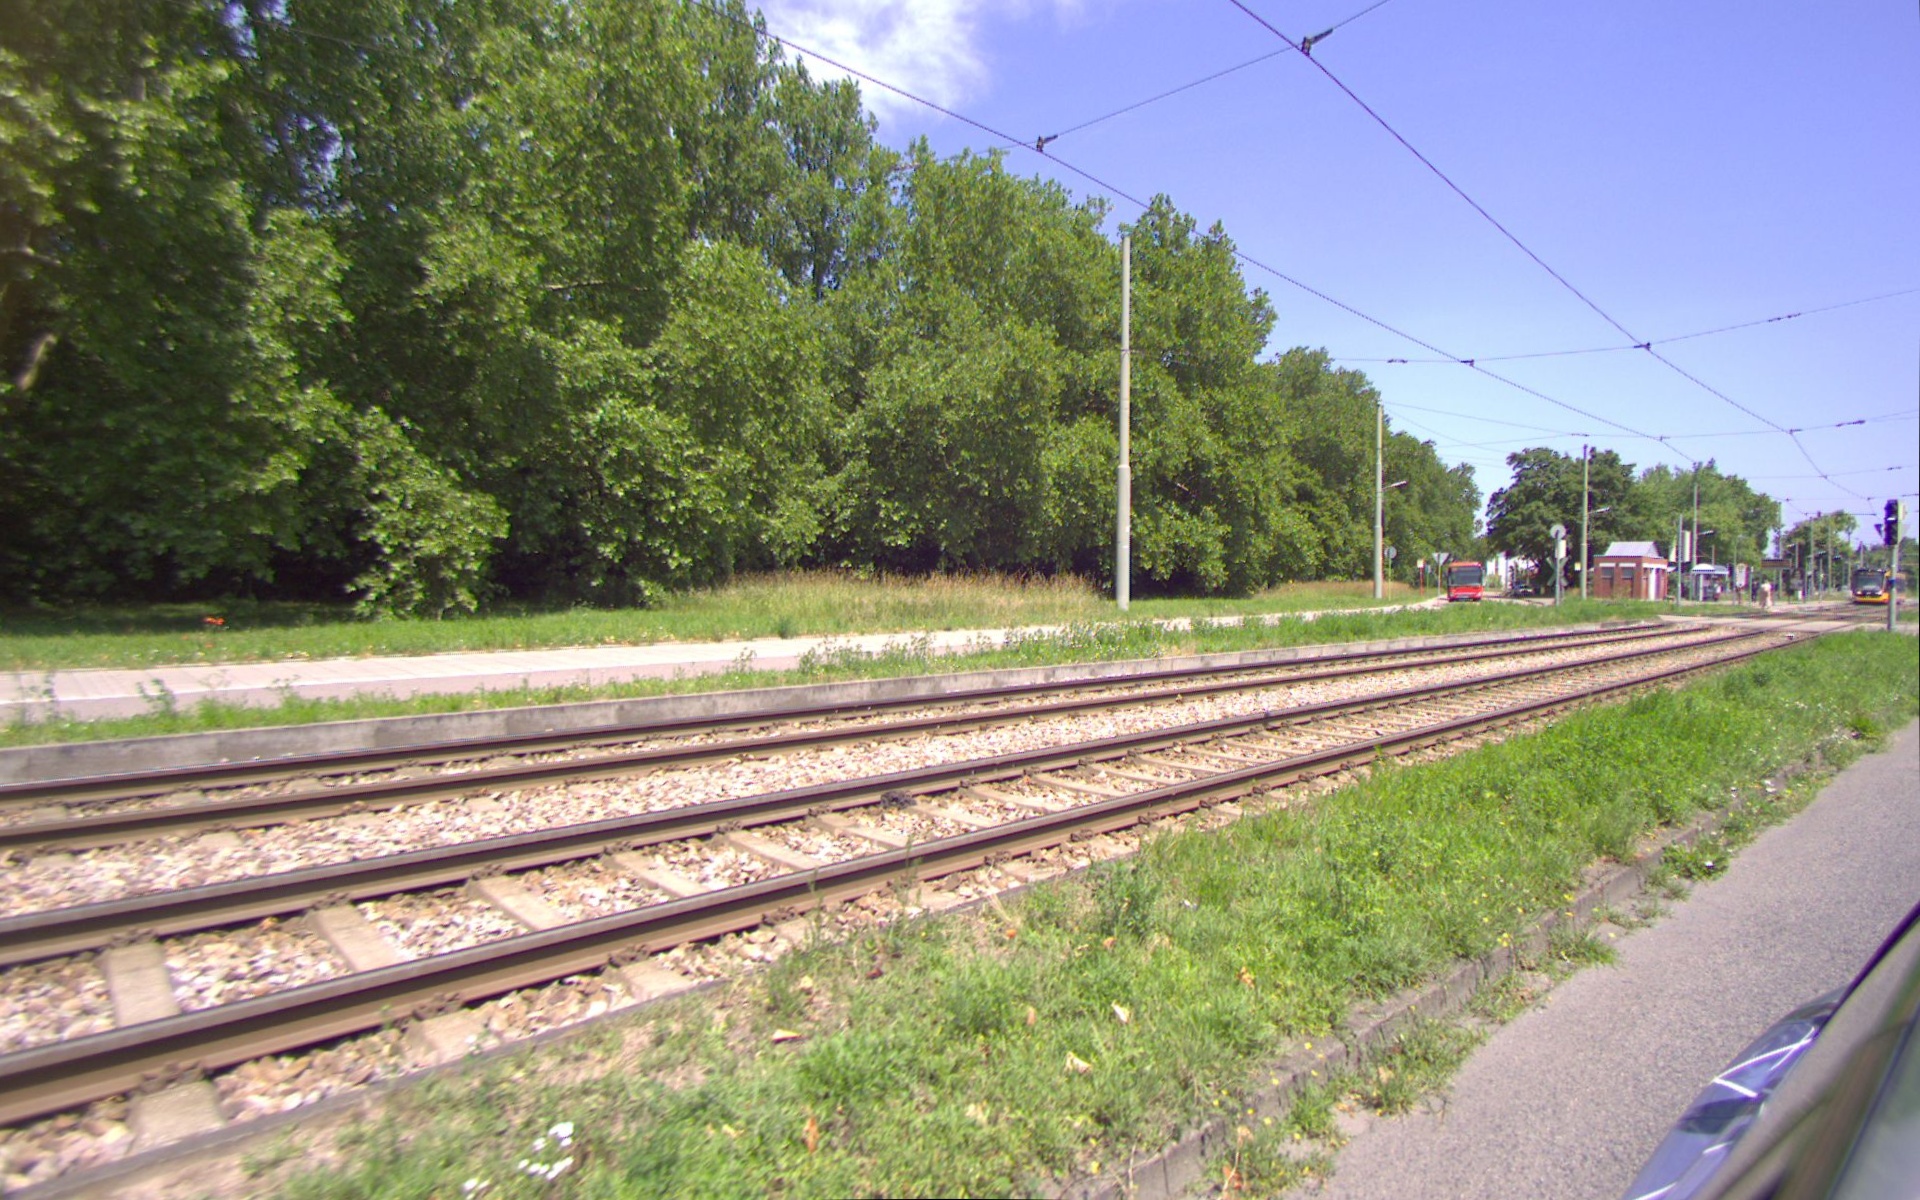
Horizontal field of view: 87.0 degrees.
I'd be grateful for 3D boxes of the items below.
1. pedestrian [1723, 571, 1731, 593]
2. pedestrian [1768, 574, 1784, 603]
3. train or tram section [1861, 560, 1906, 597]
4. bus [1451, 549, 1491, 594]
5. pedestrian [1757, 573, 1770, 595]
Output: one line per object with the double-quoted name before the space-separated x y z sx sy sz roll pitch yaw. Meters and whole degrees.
"pedestrian" 63.609 -1.473 83.936 0.727 1.796 0.382 -1 1 -41
"pedestrian" 50.427 -0.701 62.540 0.632 1.781 0.807 -1 1 33
"train or tram section" 86.572 -1.988 94.826 7.138 3.364 2.521 -1 2 -43
"bus" 43.302 -2.412 85.788 2.741 3.481 12.331 -1 1 27
"pedestrian" 67.722 -1.370 85.335 0.646 1.786 0.707 -1 2 -41
